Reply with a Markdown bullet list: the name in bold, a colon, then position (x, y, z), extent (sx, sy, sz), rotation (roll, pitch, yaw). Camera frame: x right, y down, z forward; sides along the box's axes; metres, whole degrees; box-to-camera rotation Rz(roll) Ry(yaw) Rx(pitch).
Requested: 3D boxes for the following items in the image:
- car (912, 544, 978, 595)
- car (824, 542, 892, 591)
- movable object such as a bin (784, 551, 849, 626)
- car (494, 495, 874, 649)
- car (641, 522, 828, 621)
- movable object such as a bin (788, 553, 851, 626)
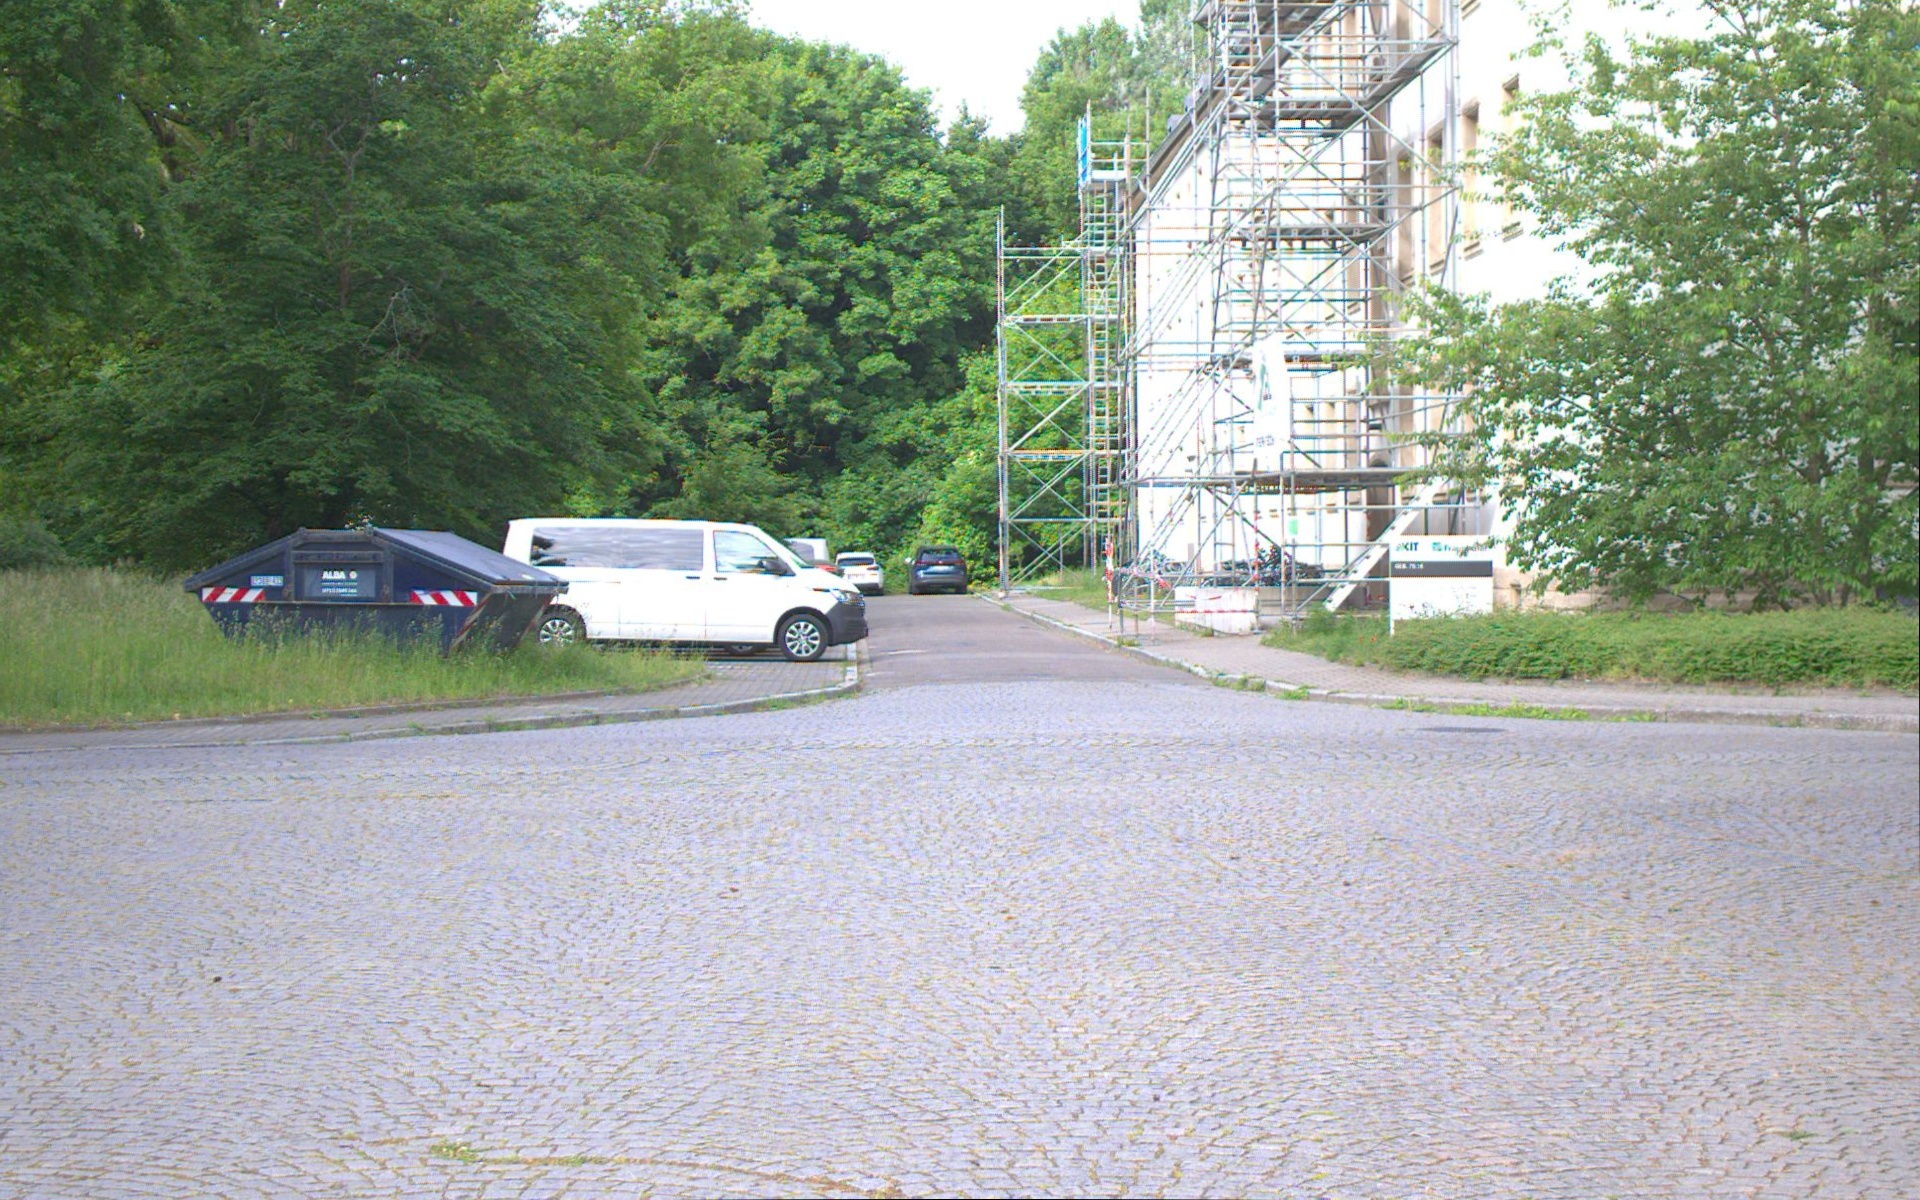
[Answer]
- **car**: position (-0.484, -0.992, 114.833), extent (2.063, 1.588, 4.000), rotation (2, 0, 1)
- **car**: position (-3.408, -1.096, 114.511), extent (2.001, 1.542, 3.959), rotation (2, 0, -4)
- **movable object such as a bin**: position (-2.796, -0.219, 67.137), extent (1.183, 1.402, 0.975), rotation (2, 0, -1)
- **car**: position (-3.848, -0.387, 48.509), extent (5.200, 2.053, 2.188), rotation (1, 0, -2)
- **car**: position (-5.014, -0.630, 76.067), extent (3.986, 2.007, 1.922), rotation (2, 0, -5)
- **movable object such as a bin**: position (-2.783, -0.213, 68.278), extent (1.183, 1.402, 0.975), rotation (2, 0, -1)
